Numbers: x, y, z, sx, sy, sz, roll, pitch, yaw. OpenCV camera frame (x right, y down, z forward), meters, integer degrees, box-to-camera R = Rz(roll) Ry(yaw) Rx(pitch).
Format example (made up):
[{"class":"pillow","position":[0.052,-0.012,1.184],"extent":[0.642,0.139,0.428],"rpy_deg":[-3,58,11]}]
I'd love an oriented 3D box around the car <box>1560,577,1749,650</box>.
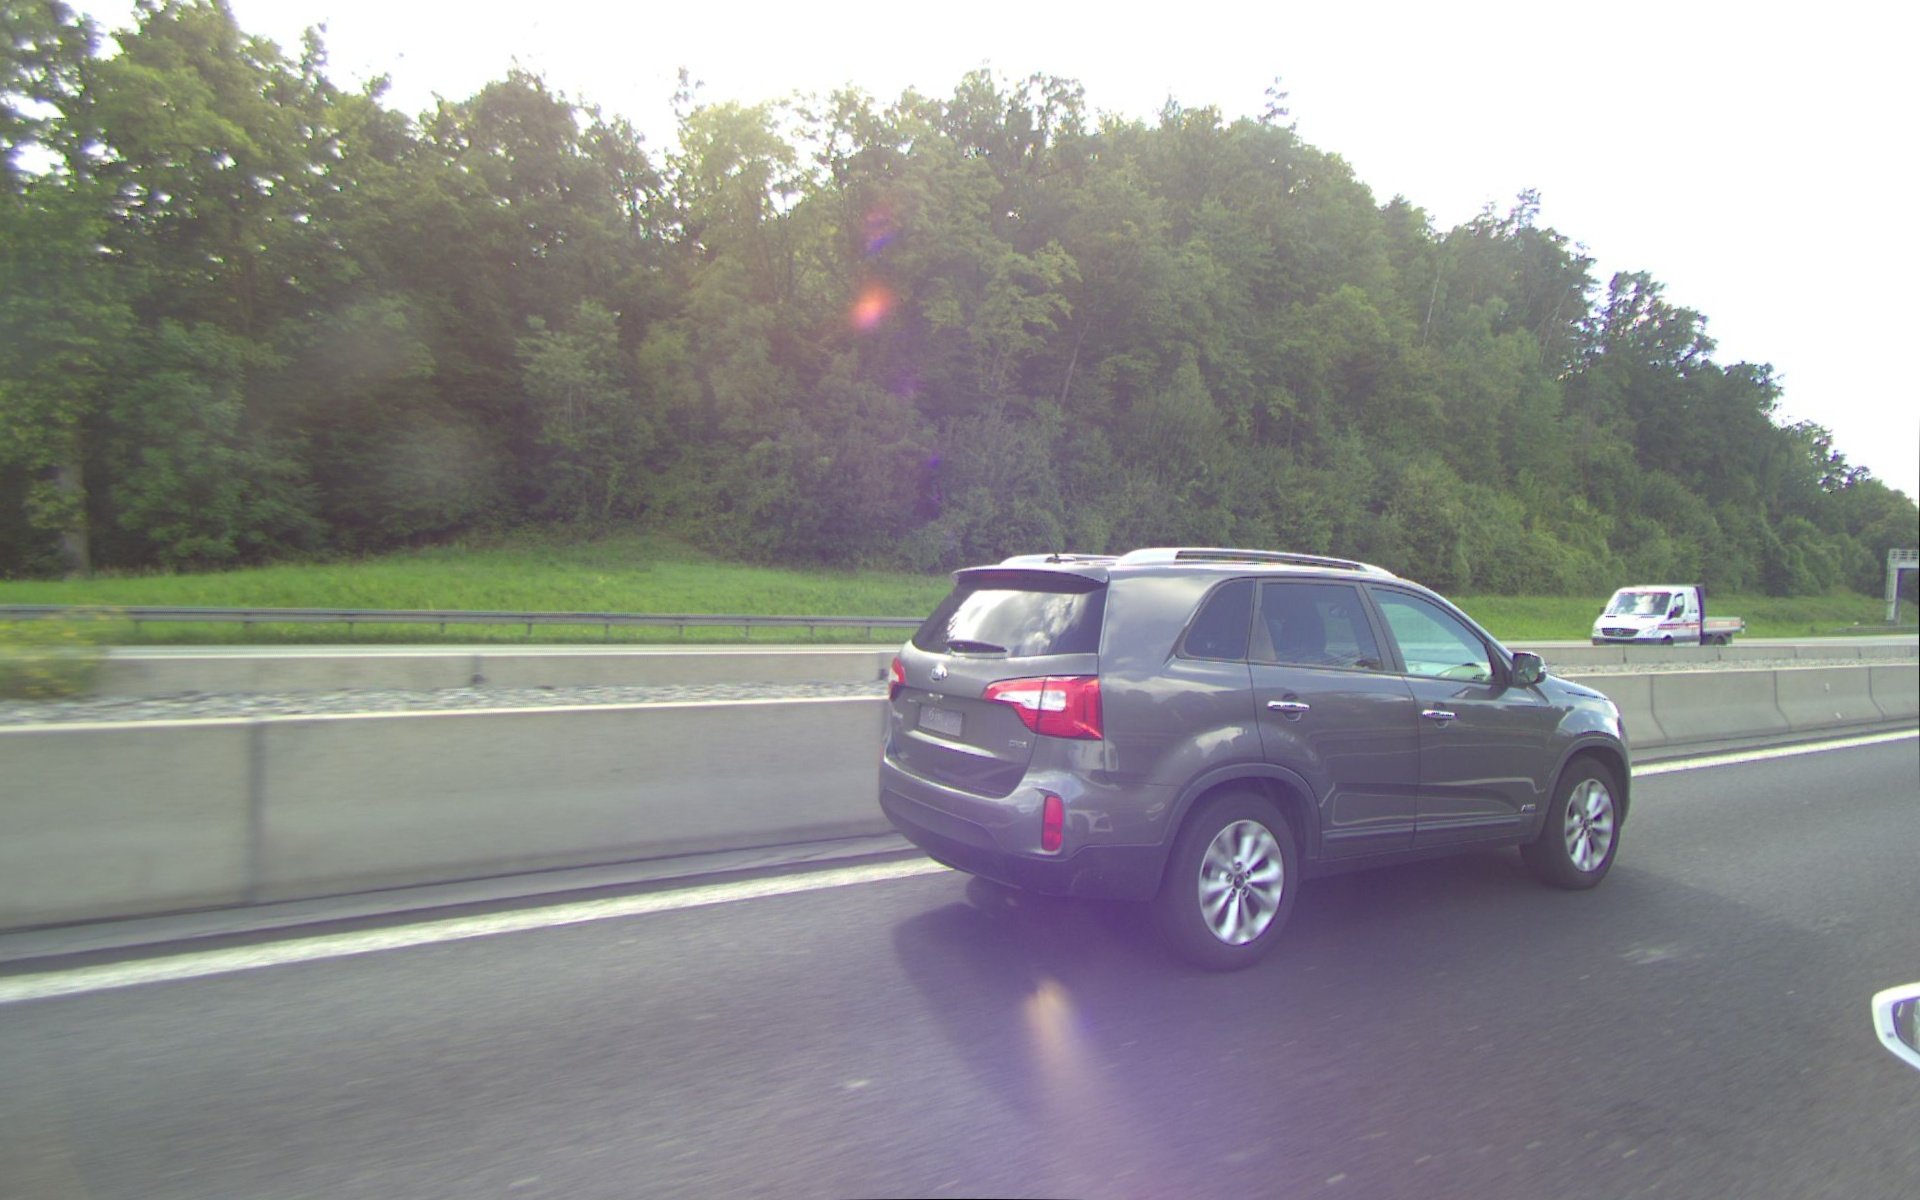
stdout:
[{"class":"car","position":[22.693,0.458,32.638],"extent":[7.990,2.158,2.187],"rpy_deg":[1,0,-33]}]

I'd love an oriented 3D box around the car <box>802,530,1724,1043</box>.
[{"class":"car","position":[1.879,0.670,5.507],"extent":[5.124,1.759,1.809],"rpy_deg":[1,0,-30]}]

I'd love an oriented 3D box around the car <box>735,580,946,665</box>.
[{"class":"car","position":[-2.517,0.476,21.518],"extent":[4.147,1.661,1.716],"rpy_deg":[1,0,-33]}]
